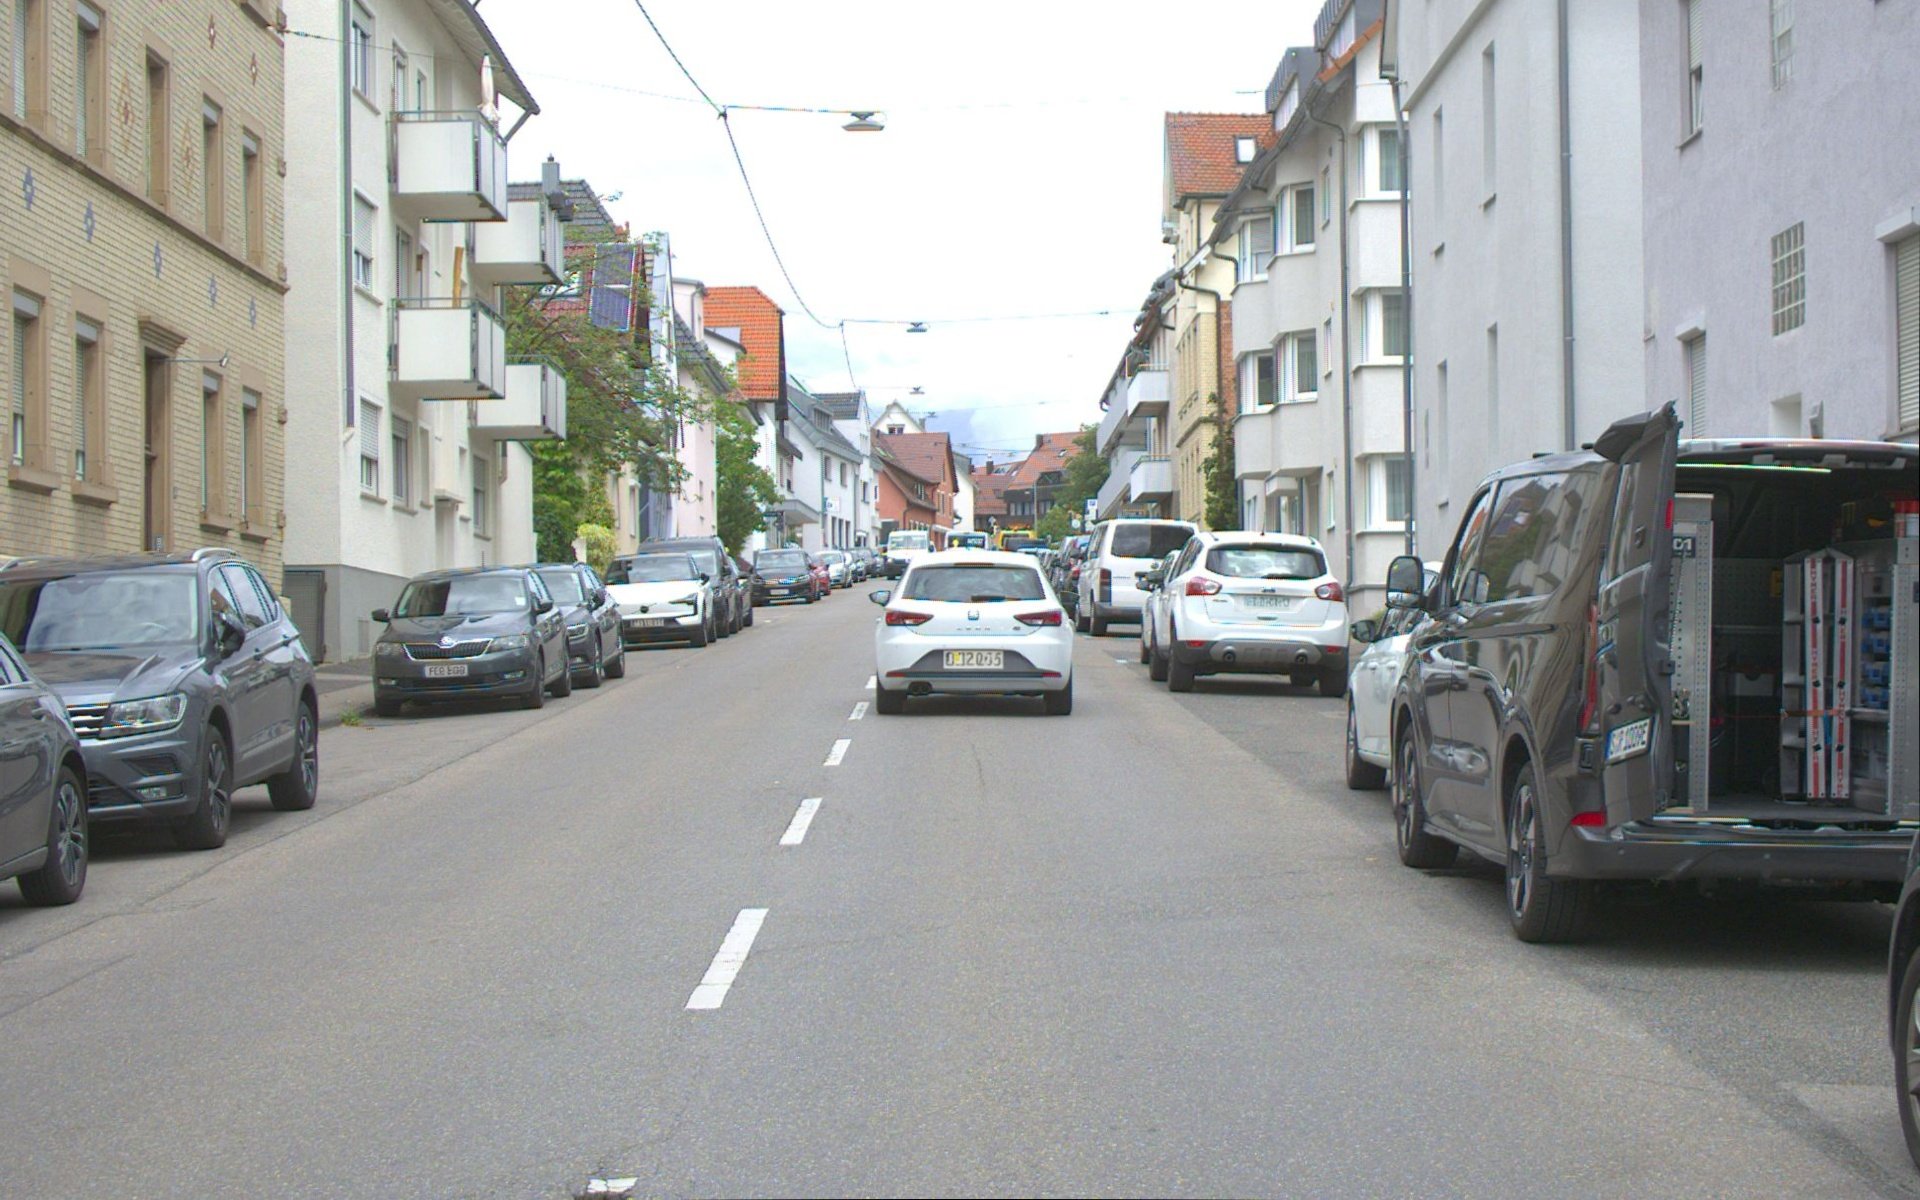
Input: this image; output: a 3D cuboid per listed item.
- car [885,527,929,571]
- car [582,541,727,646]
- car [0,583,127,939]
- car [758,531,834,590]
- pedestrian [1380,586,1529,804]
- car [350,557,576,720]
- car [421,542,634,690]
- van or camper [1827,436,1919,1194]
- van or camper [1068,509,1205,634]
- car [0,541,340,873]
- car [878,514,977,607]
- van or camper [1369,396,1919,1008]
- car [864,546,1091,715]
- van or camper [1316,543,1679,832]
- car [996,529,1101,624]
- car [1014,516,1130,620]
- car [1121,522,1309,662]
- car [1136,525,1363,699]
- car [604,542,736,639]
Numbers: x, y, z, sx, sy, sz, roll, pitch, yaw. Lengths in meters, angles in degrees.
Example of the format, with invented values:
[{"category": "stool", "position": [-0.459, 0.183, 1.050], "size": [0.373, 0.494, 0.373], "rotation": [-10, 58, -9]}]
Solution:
[{"category": "car", "position": [-2.490, -2.418, 162.359], "size": [1.993, 2.007, 4.000], "rotation": [-1, 1, 0]}, {"category": "car", "position": [-4.957, -0.140, 56.304], "size": [1.993, 1.645, 4.000], "rotation": [-1, 1, 0]}, {"category": "car", "position": [-5.062, 0.752, 14.342], "size": [1.993, 1.467, 4.243], "rotation": [-3, 1, 1]}, {"category": "car", "position": [-4.746, -1.165, 99.787], "size": [1.993, 1.645, 4.179], "rotation": [-1, 1, 0]}, {"category": "pedestrian", "position": [4.171, 0.781, 29.113], "size": [0.976, 1.733, 1.533], "rotation": [-3, 1, 1]}, {"category": "car", "position": [-5.066, 0.349, 35.533], "size": [1.642, 1.468, 4.179], "rotation": [-3, 1, 0]}, {"category": "car", "position": [-5.047, 0.148, 40.628], "size": [1.993, 1.645, 4.000], "rotation": [-1, 1, 0]}, {"category": "van or camper", "position": [3.278, 0.564, 6.747], "size": [1.871, 1.822, 4.680], "rotation": [1, 1, -1]}, {"category": "van or camper", "position": [2.968, -0.502, 58.815], "size": [1.940, 2.048, 4.563], "rotation": [0, 1, -2]}, {"category": "car", "position": [-5.020, 0.542, 19.955], "size": [1.993, 1.645, 4.554], "rotation": [-4, 1, -1]}, {"category": "car", "position": [-0.750, -0.894, 77.534], "size": [2.152, 2.007, 4.000], "rotation": [1, 1, -1]}, {"category": "van or camper", "position": [3.118, 0.300, 14.588], "size": [1.993, 2.058, 5.945], "rotation": [0, 1, 0]}, {"category": "car", "position": [0.147, 0.233, 31.451], "size": [1.940, 1.434, 4.000], "rotation": [0, 1, 0]}, {"category": "van or camper", "position": [3.153, 0.446, 20.854], "size": [1.602, 1.538, 4.000], "rotation": [2, 1, 1]}, {"category": "car", "position": [1.928, -0.545, 75.984], "size": [1.993, 2.007, 4.001], "rotation": [-1, 1, -3]}, {"category": "car", "position": [2.225, -0.652, 69.470], "size": [1.993, 2.007, 4.001], "rotation": [-1, 1, -3]}, {"category": "car", "position": [3.179, -0.129, 43.581], "size": [1.940, 1.687, 4.000], "rotation": [0, 1, -2]}, {"category": "car", "position": [3.025, 0.081, 36.661], "size": [1.940, 1.687, 4.000], "rotation": [2, 1, -1]}, {"category": "car", "position": [-5.129, -0.203, 61.212], "size": [1.993, 1.645, 4.000], "rotation": [-1, 1, 0]}]
